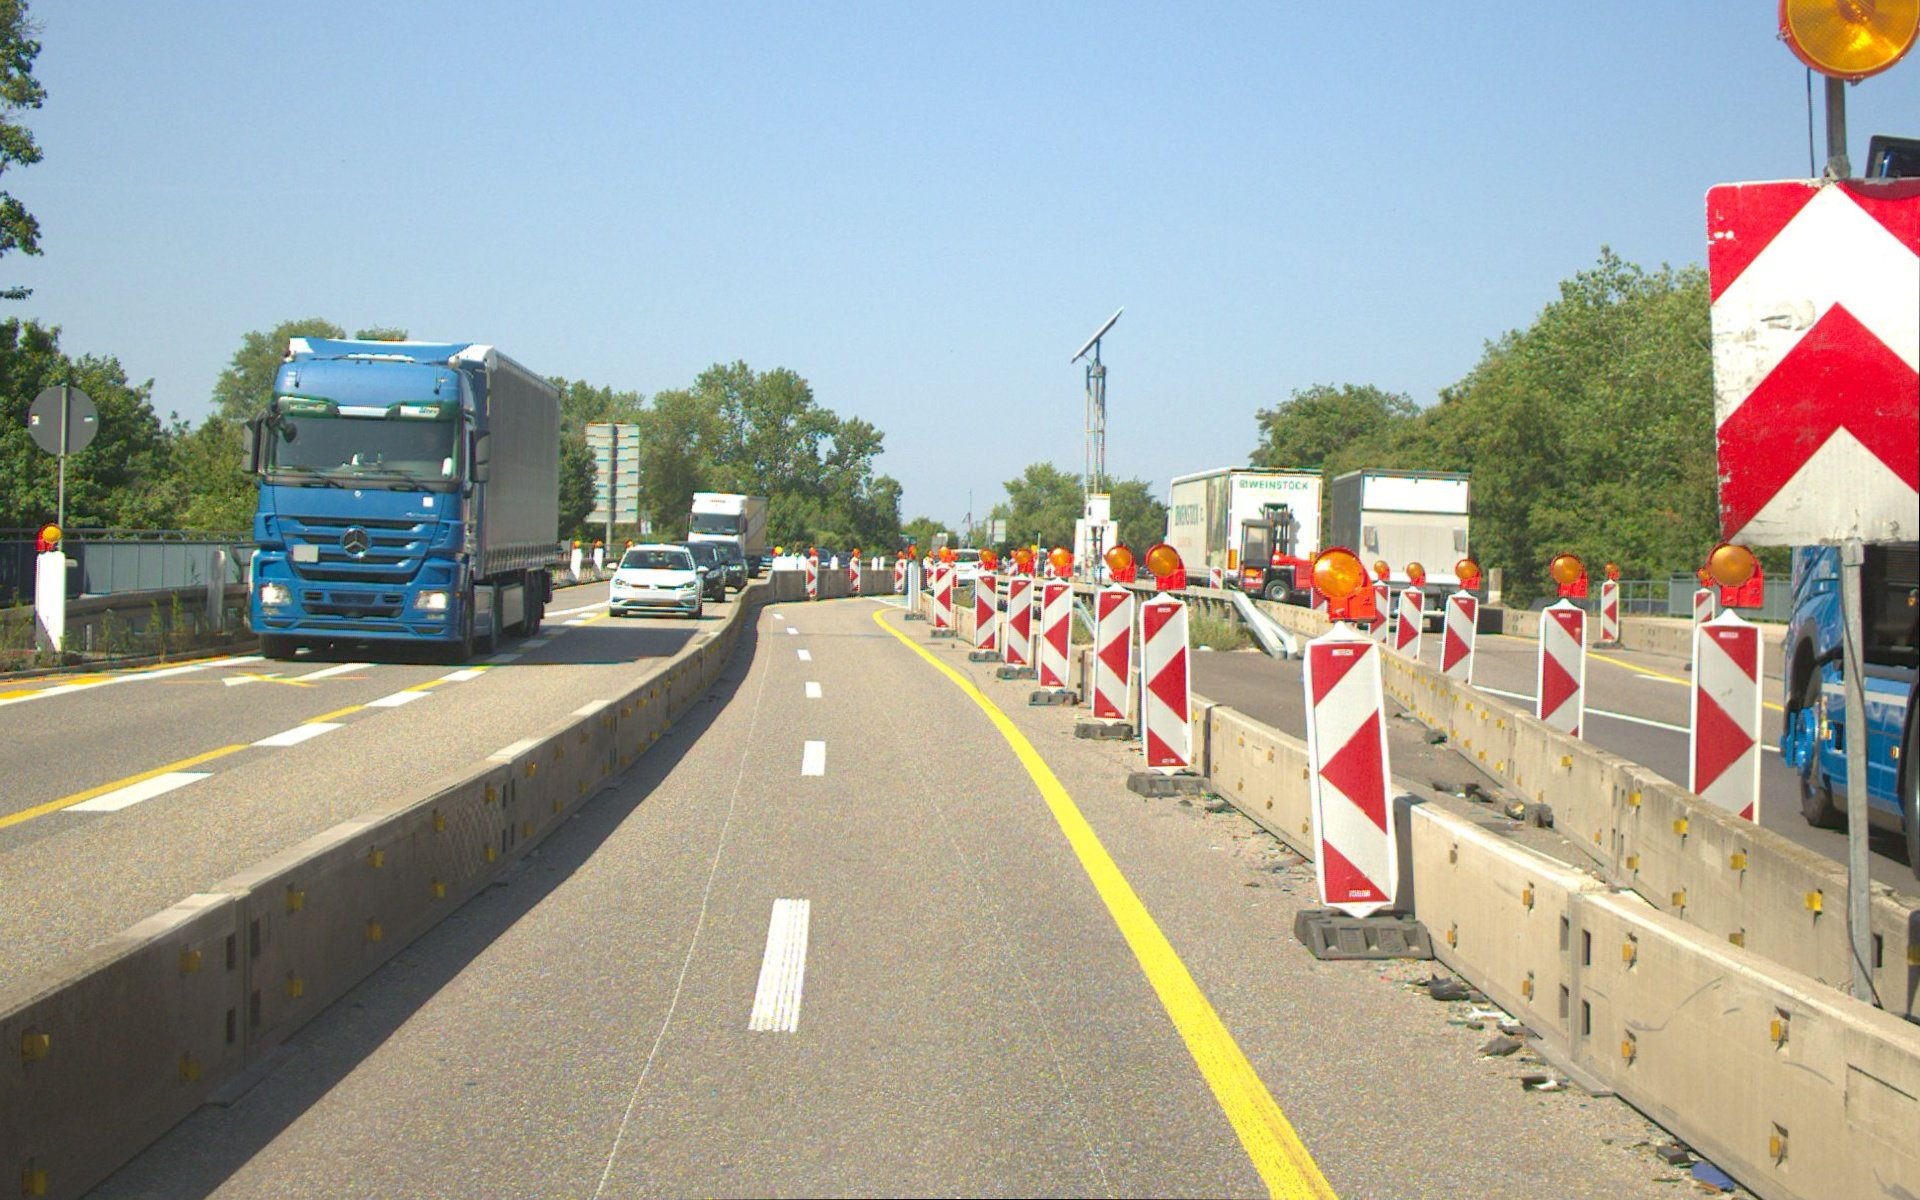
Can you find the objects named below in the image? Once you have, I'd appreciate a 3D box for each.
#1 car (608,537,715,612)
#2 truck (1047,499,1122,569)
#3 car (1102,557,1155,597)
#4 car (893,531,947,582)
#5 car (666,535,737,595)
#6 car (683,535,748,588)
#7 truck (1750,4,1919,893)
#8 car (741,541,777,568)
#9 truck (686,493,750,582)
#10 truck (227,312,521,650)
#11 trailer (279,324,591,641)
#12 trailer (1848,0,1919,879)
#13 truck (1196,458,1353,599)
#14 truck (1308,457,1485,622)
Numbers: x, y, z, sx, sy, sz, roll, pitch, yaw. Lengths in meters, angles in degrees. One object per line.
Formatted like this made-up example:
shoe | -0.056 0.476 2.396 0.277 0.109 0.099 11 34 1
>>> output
car | -5.933 -0.538 68.706 1.814 1.412 4.153 1 1 -1
truck | 7.772 -4.099 216.156 4.220 4.252 10.241 1 1 -1
car | 7.511 -1.039 153.615 1.993 1.770 4.000 1 1 -3
car | -1.473 -1.569 124.255 1.816 1.770 4.000 1 1 -3
car | -6.920 -0.948 92.279 1.738 1.546 3.943 1 1 -2
car | -7.766 -1.247 109.651 1.863 1.626 4.566 1 1 -2
truck | 5.988 -0.723 17.986 2.695 4.088 7.299 1 1 6
car | -11.703 -2.655 200.241 1.932 1.503 4.469 1 1 -2
truck | -11.496 -2.968 163.671 2.749 4.122 6.416 1 1 -2
truck | -7.321 -1.472 43.694 2.814 3.976 5.986 1 1 -1
trailer | -7.460 -1.656 50.850 2.803 4.029 13.469 1 1 -1
trailer | 5.368 -0.708 11.584 2.695 4.123 12.612 1 1 6
truck | 8.746 -1.982 96.520 3.388 3.761 7.234 1 1 -3
truck | 9.446 -1.340 75.152 2.634 3.416 7.234 0 1 -2
